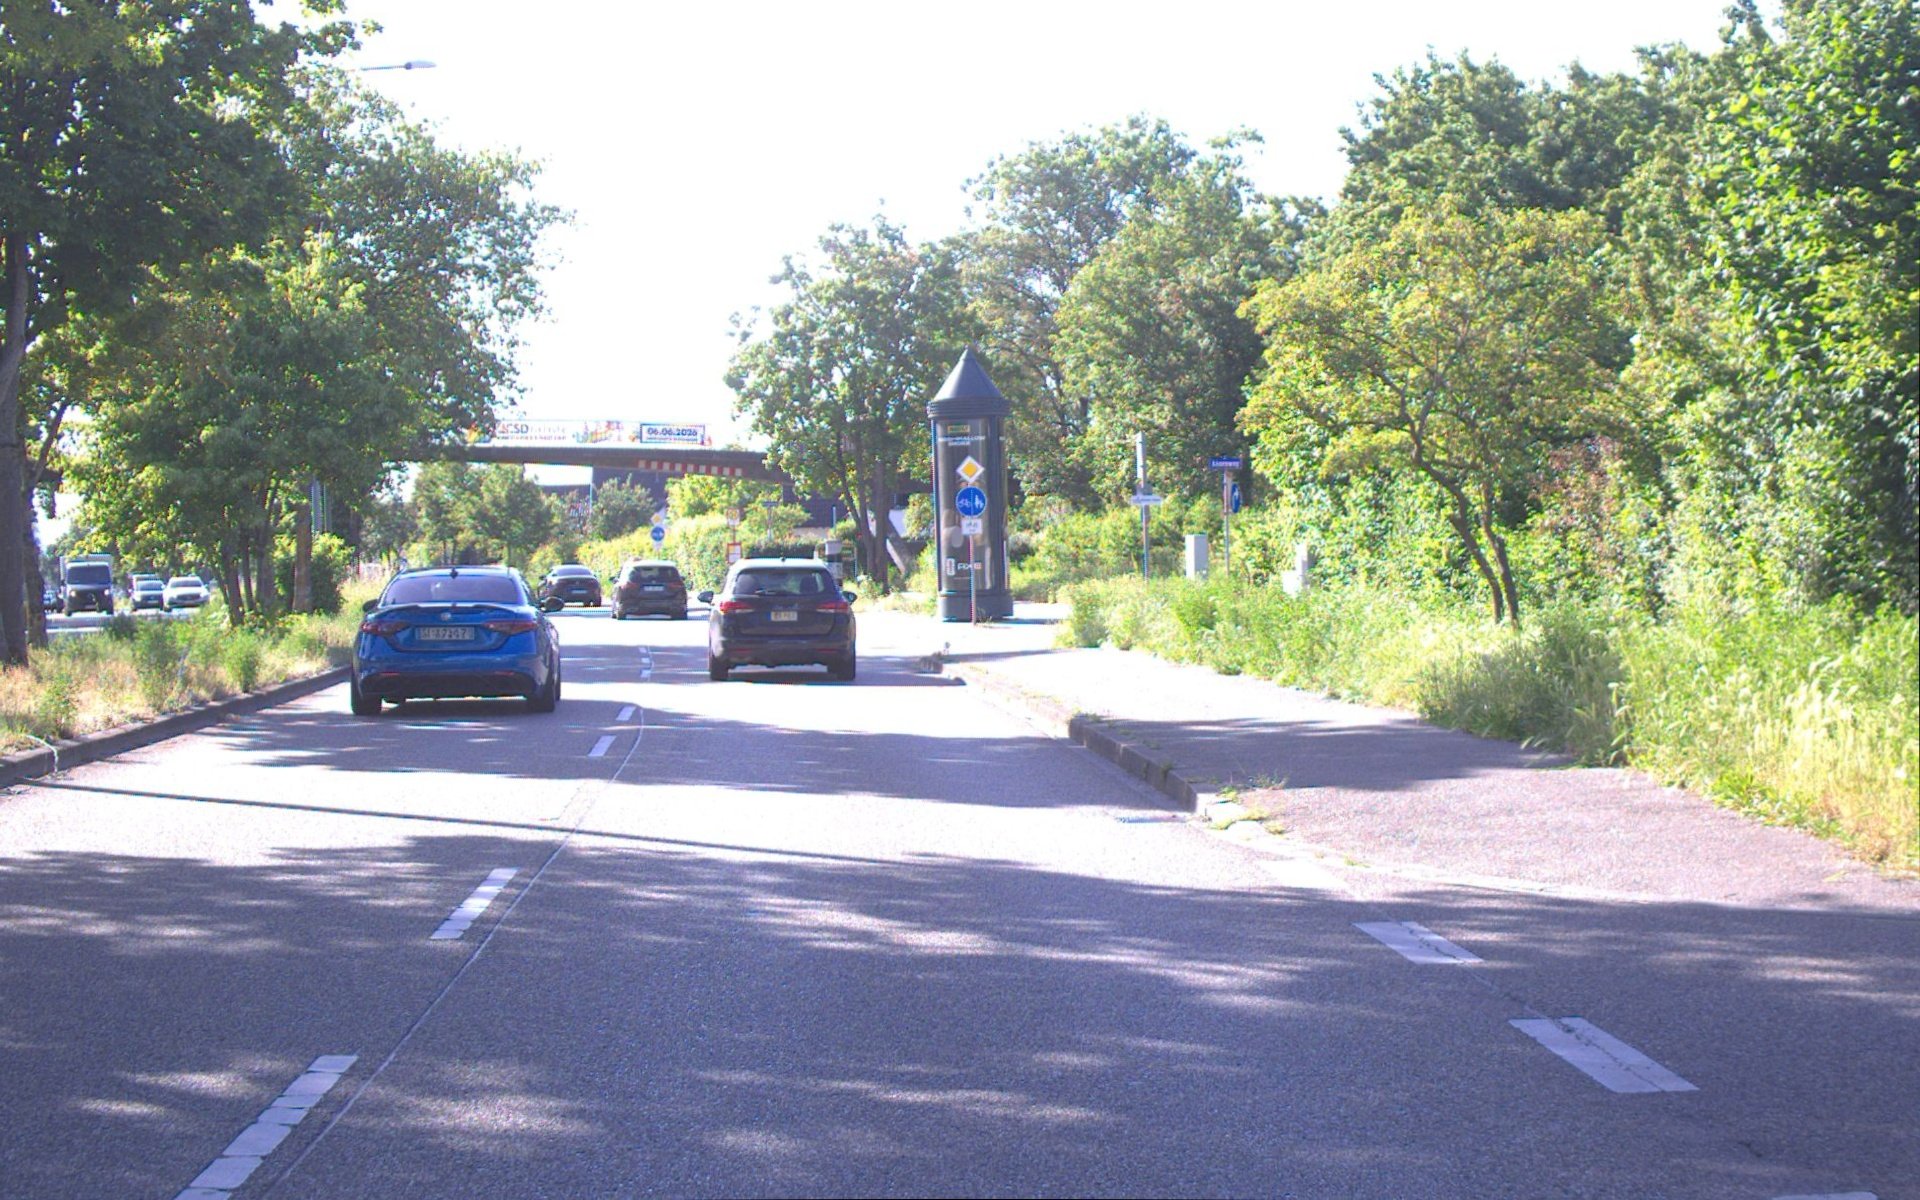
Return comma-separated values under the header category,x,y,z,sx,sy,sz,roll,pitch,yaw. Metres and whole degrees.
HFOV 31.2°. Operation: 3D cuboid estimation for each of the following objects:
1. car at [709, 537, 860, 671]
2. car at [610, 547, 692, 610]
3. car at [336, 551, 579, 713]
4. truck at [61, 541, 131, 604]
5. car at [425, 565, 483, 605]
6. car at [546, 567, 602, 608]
category,x,y,z,sx,sy,sz,roll,pitch,yaw
car,-2.195,0.062,42.452,1.760,1.554,4.000,1,0,-4
car,-8.032,-0.577,89.035,1.743,1.592,4.176,-1,1,-10
car,-4.854,0.265,33.708,1.994,1.400,4.001,-2,1,-4
truck,-37.022,-1.171,147.240,2.172,2.504,5.743,-3,1,-20
car,-17.960,-0.546,122.076,1.898,1.351,4.001,-1,1,-7
car,-13.499,-0.446,120.047,1.898,1.351,4.001,-1,1,-7
